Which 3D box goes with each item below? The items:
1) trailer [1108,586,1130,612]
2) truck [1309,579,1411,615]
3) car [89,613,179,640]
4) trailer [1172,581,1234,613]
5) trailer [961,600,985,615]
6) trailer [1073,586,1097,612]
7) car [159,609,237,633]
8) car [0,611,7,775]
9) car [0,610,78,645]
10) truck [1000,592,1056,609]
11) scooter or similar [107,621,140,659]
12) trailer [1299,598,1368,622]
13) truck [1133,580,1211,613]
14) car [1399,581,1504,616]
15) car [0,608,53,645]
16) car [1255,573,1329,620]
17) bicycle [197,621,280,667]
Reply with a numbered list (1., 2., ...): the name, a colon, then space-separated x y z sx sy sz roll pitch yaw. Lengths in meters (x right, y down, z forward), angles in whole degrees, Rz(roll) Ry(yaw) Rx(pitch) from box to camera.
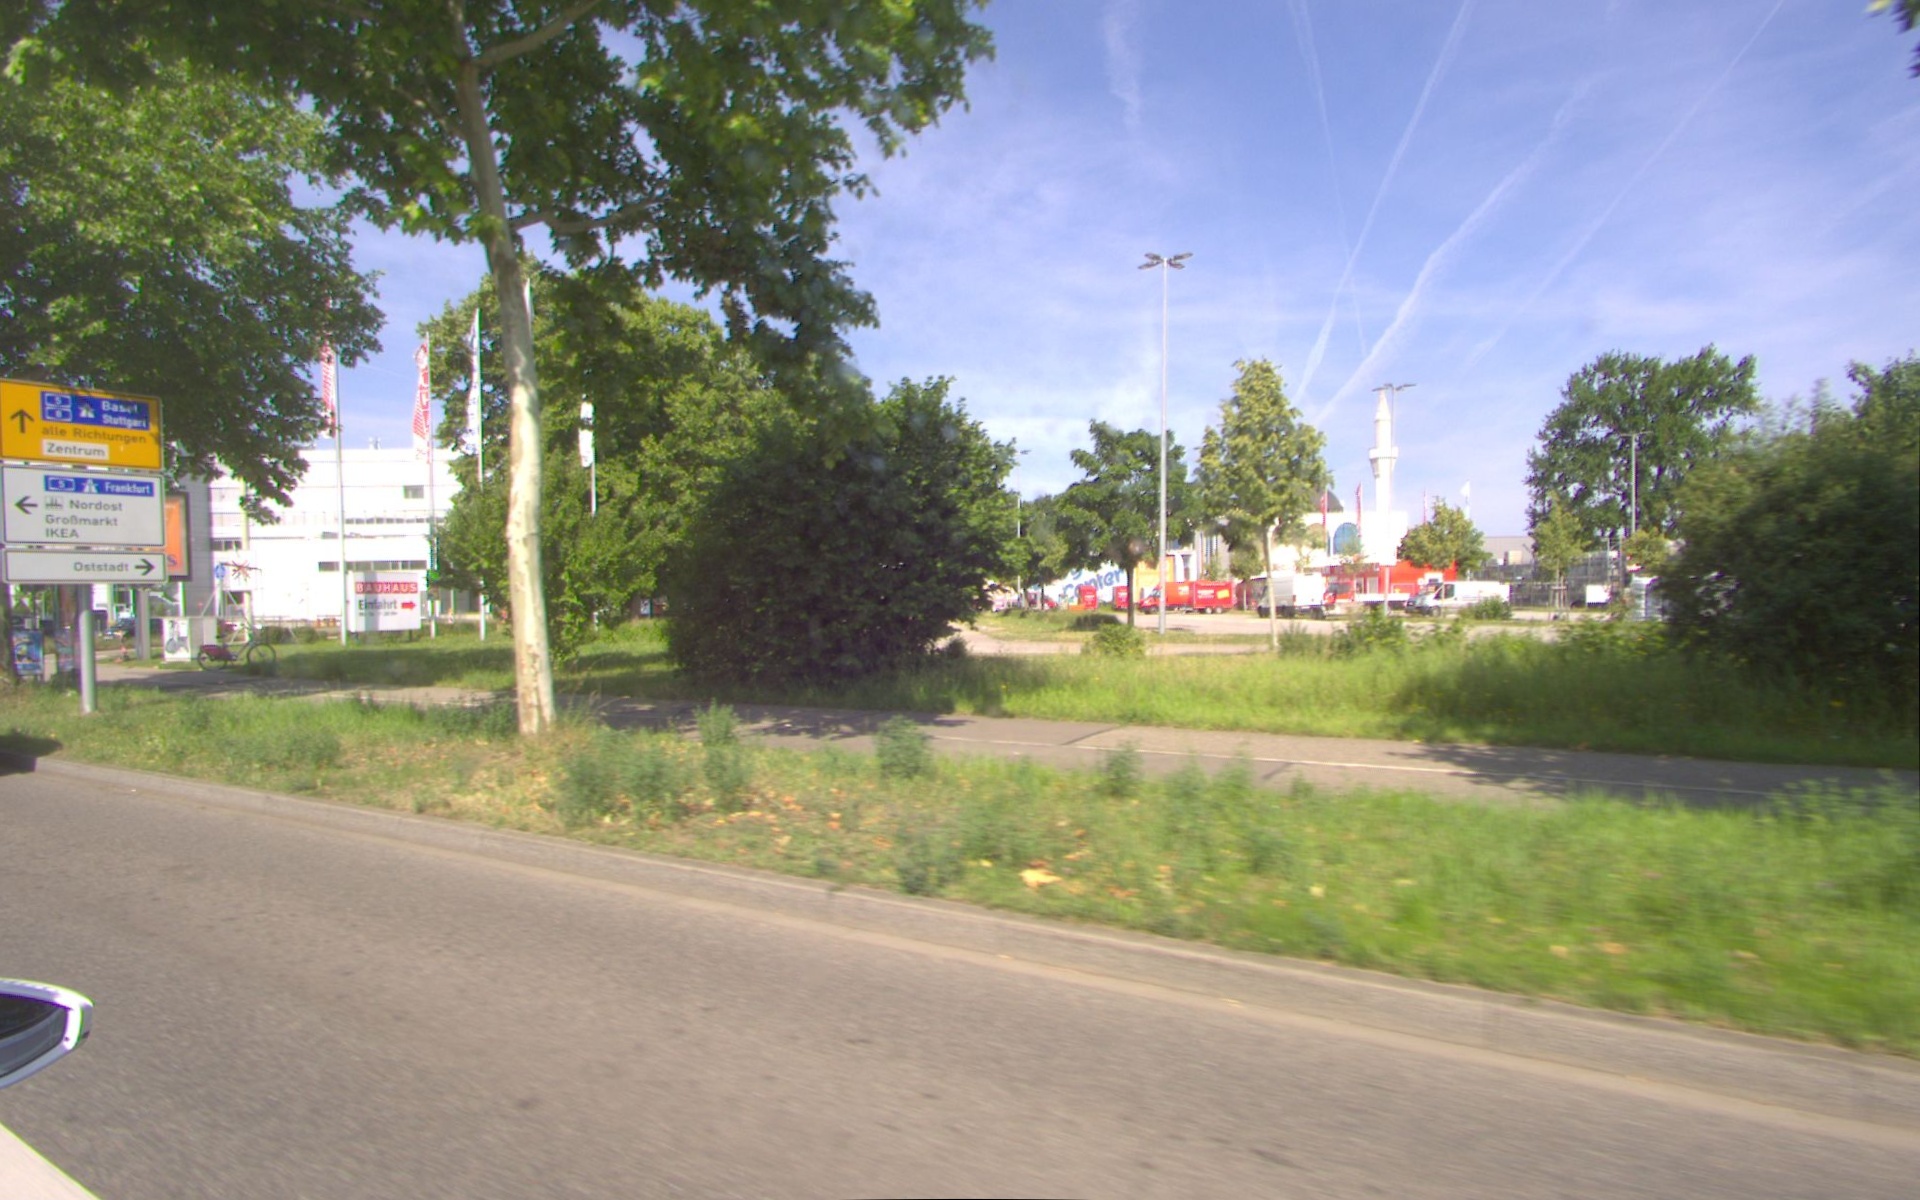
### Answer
1. trailer: 14.990 -0.139 94.529 1.520 2.390 4.410 0 1 2
2. truck: 25.745 -0.175 64.531 5.751 2.168 2.066 -1 0 -1
3. car: -49.615 1.577 60.278 1.747 1.463 4.625 -1 0 -4
4. trailer: 18.618 -0.209 76.791 4.325 2.409 1.751 0 1 0
5. trailer: 1.167 0.677 92.982 1.560 1.304 4.409 -1 0 -7
6. trailer: 11.842 -0.143 95.144 1.560 2.408 4.410 0 1 -1
7. car: -49.862 1.346 65.658 1.747 1.463 4.625 -1 0 -4
8. car: -12.124 0.966 10.686 4.431 1.680 1.763 -1 -2 32
9. car: -49.462 1.410 52.839 1.879 1.711 4.625 -1 0 -4
10. truck: 7.448 0.070 110.254 5.888 1.855 2.188 0 -2 -3
11. scooter or similar: -25.742 1.216 30.809 1.107 1.141 0.423 -1 1 32
12. trailer: 20.067 0.507 53.973 2.029 1.137 4.030 -3 0 -2
13. truck: 17.437 -0.306 82.527 5.914 2.644 2.018 0 0 -6
14. car: 26.337 -0.108 53.708 4.737 1.841 1.873 0 2 -6
15. car: -46.006 1.294 47.529 1.879 1.711 4.625 -1 0 -4
16. car: 19.642 -0.202 59.563 1.980 2.576 5.687 -3 0 -6
17. bicycle: -19.645 1.182 27.300 1.771 1.123 0.499 -3 2 -40
